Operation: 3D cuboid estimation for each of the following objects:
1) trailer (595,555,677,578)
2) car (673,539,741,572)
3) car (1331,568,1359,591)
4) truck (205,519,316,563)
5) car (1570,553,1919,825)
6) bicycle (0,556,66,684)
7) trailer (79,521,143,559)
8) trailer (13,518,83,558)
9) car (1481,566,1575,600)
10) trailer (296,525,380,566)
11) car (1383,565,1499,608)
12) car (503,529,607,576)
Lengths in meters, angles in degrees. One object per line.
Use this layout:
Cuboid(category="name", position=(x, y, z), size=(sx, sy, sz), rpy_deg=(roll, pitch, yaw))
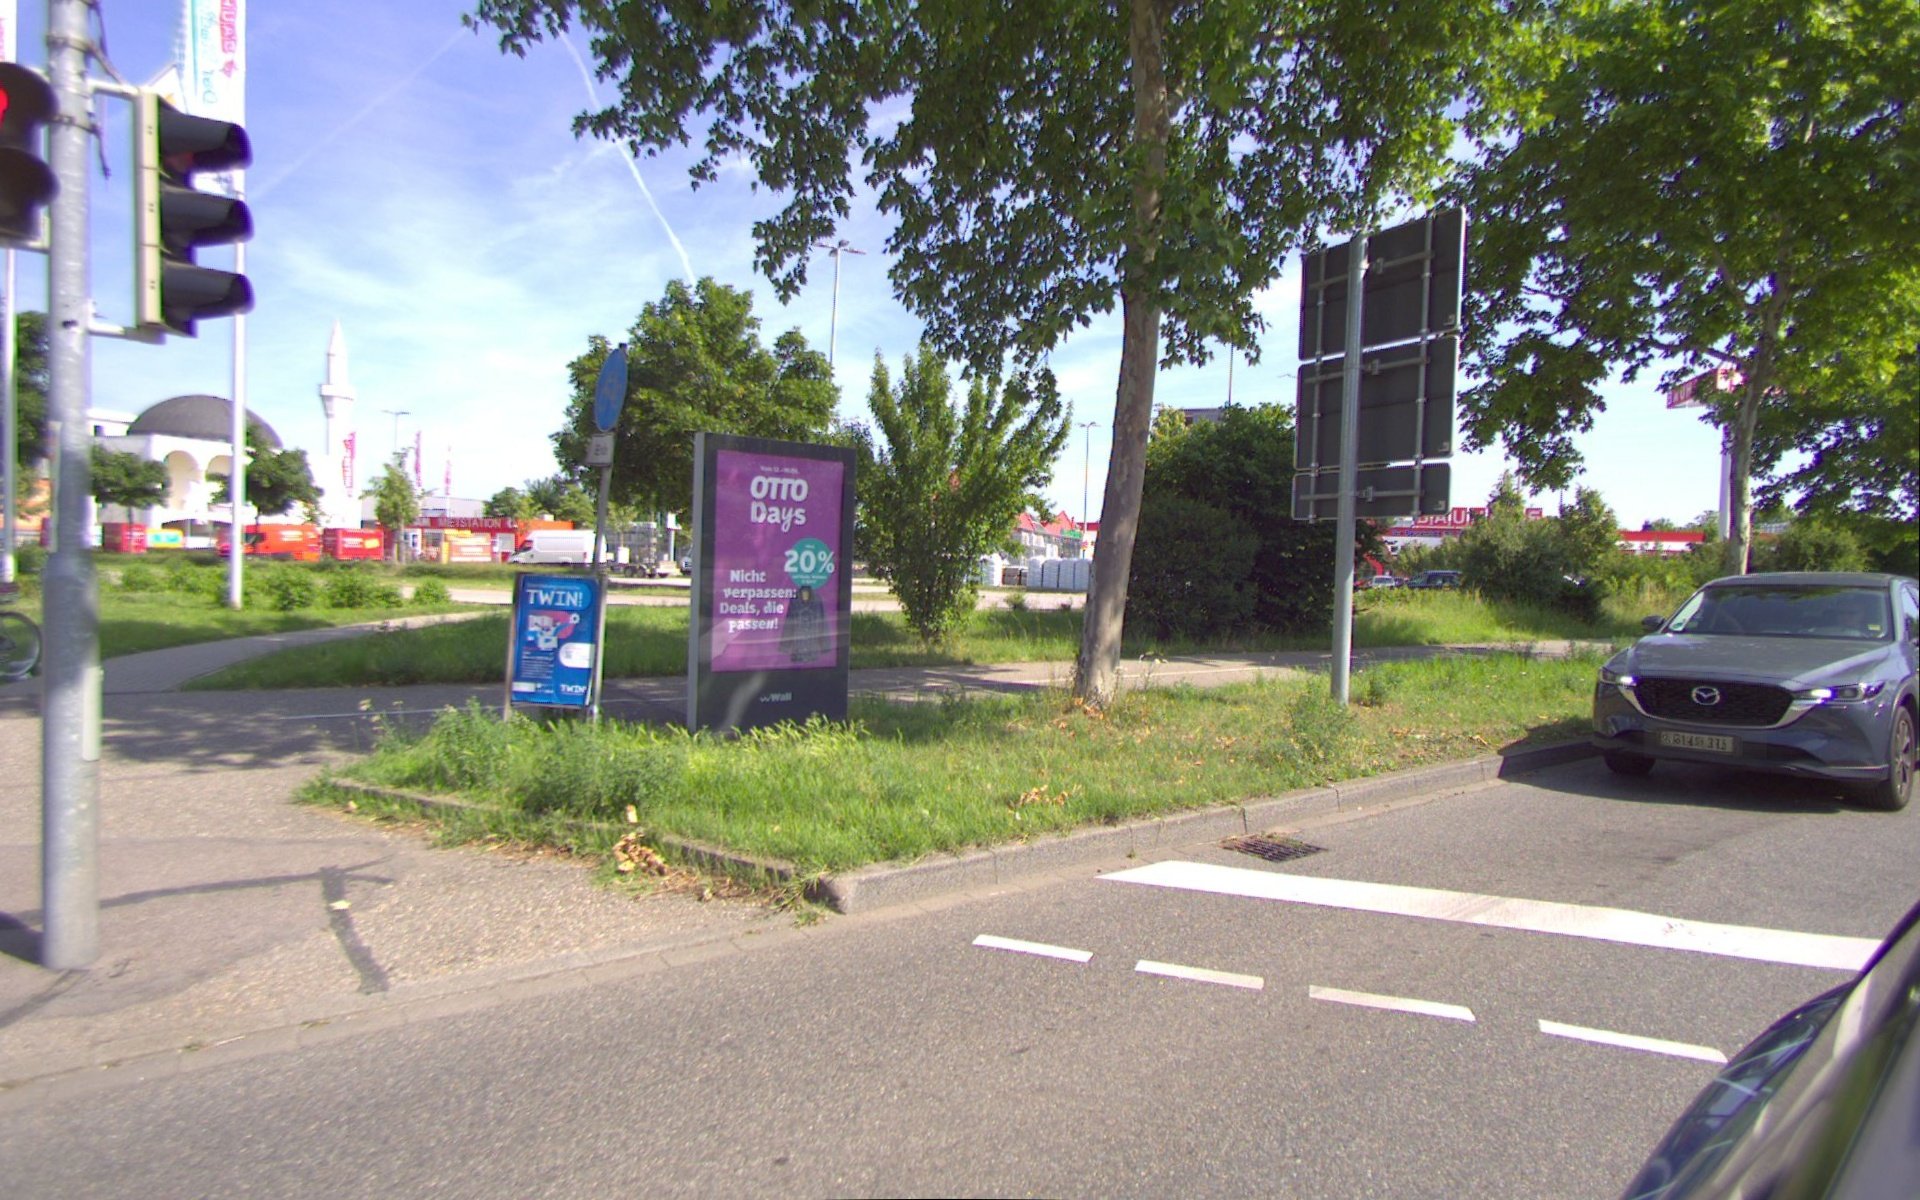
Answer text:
Cuboid(category="trailer", position=(-18.220, -1.902, 56.905), size=(3.982, 1.135, 2.057), rpy_deg=(2, 4, 21))
Cuboid(category="car", position=(-15.598, -2.737, 62.686), size=(1.849, 1.838, 4.806), rpy_deg=(3, 2, 16))
Cuboid(category="car", position=(27.996, -1.491, 73.612), size=(1.668, 1.593, 3.978), rpy_deg=(2, 2, 18))
Cuboid(category="truck", position=(-45.145, -3.753, 65.520), size=(1.991, 2.641, 6.001), rpy_deg=(2, 2, 16))
Cuboid(category="car", position=(6.924, 0.525, 8.280), size=(4.412, 1.680, 1.771), rpy_deg=(0, 1, -37))
Cuboid(category="bicycle", position=(-8.967, 0.186, 9.238), size=(0.493, 1.121, 1.797), rpy_deg=(1, 4, -17))
Cuboid(category="trailer", position=(-56.975, -4.007, 67.884), size=(4.365, 2.387, 1.538), rpy_deg=(3, 2, 25))
Cuboid(category="trailer", position=(-58.721, -3.999, 65.166), size=(4.360, 2.405, 1.580), rpy_deg=(3, 2, 22))
Cuboid(category="car", position=(28.984, -0.888, 51.757), size=(3.809, 1.604, 1.841), rpy_deg=(2, 2, 16))
Cuboid(category="trailer", position=(-39.490, -3.455, 64.403), size=(1.731, 2.405, 4.379), rpy_deg=(3, 2, 22))
Cuboid(category="car", position=(19.592, -0.588, 41.337), size=(1.818, 1.604, 3.856), rpy_deg=(-1, 3, -42))
Cuboid(category="car", position=(-23.450, -2.815, 58.673), size=(5.611, 2.572, 2.010), rpy_deg=(2, 4, 17))
